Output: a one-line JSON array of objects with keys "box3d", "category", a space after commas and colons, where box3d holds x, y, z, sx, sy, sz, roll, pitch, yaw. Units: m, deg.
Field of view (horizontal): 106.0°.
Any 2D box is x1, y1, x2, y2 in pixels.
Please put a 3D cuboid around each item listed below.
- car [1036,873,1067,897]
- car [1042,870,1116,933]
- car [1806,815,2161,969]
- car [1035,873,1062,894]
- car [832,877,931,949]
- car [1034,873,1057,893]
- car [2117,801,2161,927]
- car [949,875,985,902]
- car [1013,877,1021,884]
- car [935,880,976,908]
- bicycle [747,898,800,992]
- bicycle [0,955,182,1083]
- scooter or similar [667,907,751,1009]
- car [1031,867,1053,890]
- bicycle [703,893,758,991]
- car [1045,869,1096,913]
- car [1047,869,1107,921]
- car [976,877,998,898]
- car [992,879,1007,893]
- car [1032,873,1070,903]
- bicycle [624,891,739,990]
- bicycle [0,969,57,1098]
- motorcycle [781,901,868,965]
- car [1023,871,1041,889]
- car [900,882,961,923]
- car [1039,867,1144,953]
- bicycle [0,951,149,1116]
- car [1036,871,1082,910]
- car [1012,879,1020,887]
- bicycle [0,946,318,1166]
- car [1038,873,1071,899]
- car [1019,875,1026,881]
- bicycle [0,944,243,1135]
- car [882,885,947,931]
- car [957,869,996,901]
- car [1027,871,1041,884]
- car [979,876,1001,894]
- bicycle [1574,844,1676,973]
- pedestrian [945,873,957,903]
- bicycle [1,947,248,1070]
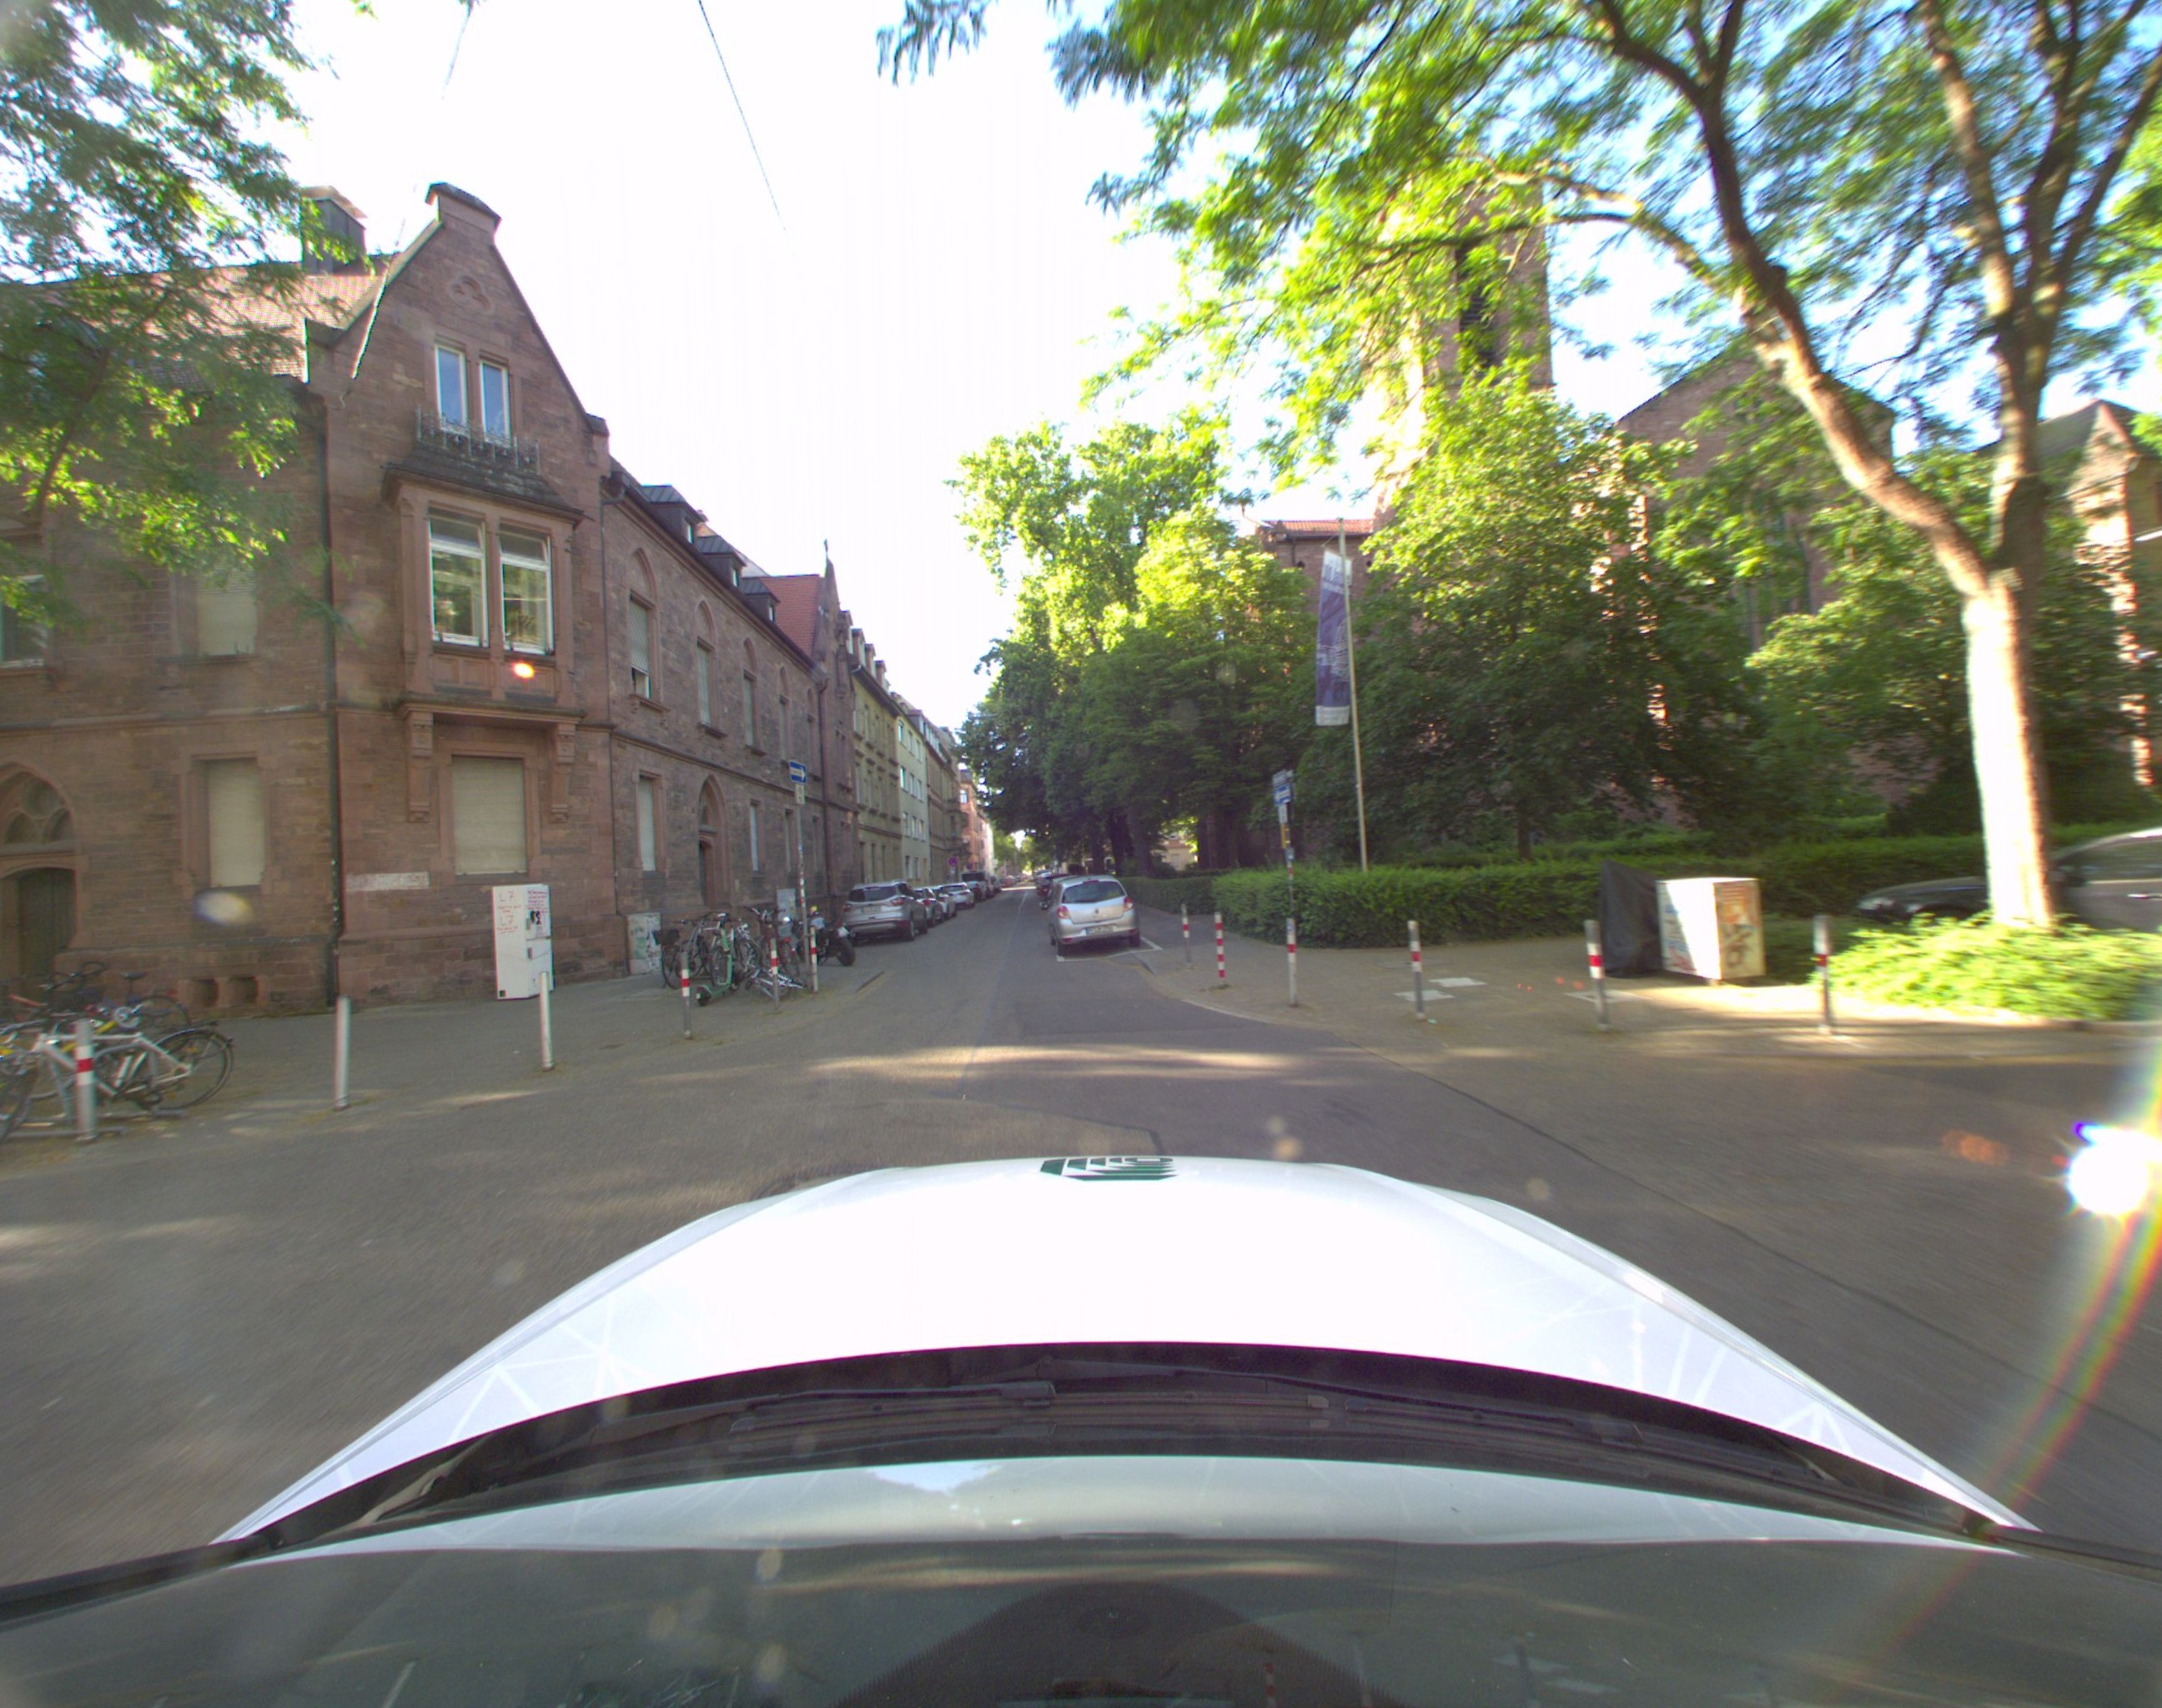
[{"box3d": [-2.196, 2.221, 58.856, 1.990, 1.574, 3.993, -4, -2, -4], "category": "car"}, {"box3d": [-0.148, 1.301, 23.137, 1.720, 1.522, 3.993, -4, -2, -4], "category": "car"}, {"box3d": [11.617, 0.375, 8.999, 1.812, 1.552, 5.045, -3, -2, -37], "category": "car"}, {"box3d": [-2.679, 2.379, 65.891, 1.990, 1.574, 3.993, -4, -2, -4], "category": "car"}, {"box3d": [-5.595, 1.603, 23.295, 1.878, 1.707, 3.995, -5, -2, -3], "category": "car"}, {"box3d": [-3.114, 2.523, 70.218, 1.790, 1.574, 3.993, -4, -2, -4], "category": "car"}, {"box3d": [15.216, 0.015, 9.334, 1.723, 1.618, 3.741, -3, -2, -22], "category": "car"}, {"box3d": [-7.562, 2.289, 54.223, 1.990, 1.574, 3.993, -4, -2, -4], "category": "car"}, {"box3d": [-16.382, 6.661, 207.960, 1.990, 1.647, 3.994, -4, -2, -4], "category": "car"}, {"box3d": [-6.699, 2.121, 43.914, 1.768, 1.353, 3.994, -3, -1, -4], "category": "car"}, {"box3d": [-5.067, 1.442, 13.533, 0.685, 1.345, 2.486, -3, -2, -19], "category": "bicycle"}, {"box3d": [-11.237, 1.802, 8.870, 1.958, 1.180, 0.684, -4, 0, -3], "category": "bicycle"}, {"box3d": [-5.287, 1.443, 11.646, 0.528, 1.277, 1.300, -4, -1, 0], "category": "scooter or similar"}, {"box3d": [-4.266, 2.692, 88.673, 2.157, 2.255, 4.517, -4, -2, -5], "category": "car"}, {"box3d": [-5.781, 1.385, 13.533, 0.574, 1.423, 2.486, -3, -2, -19], "category": "bicycle"}, {"box3d": [-0.501, 1.494, 33.955, 1.838, 1.596, 3.994, -3, -1, -4], "category": "car"}, {"box3d": [-0.212, 1.406, 28.779, 1.738, 1.574, 3.993, -4, -2, -4], "category": "car"}, {"box3d": [-8.506, 3.030, 73.921, 1.790, 1.573, 3.994, -4, 1, -4], "category": "car"}, {"box3d": [-11.080, 4.378, 111.148, 1.947, 1.709, 3.992, -4, -2, -5], "category": "car"}, {"box3d": [-1.837, 1.990, 48.573, 1.990, 1.574, 3.993, -4, -2, -4], "category": "car"}, {"box3d": [-6.769, 1.399, 13.986, 0.681, 1.423, 2.794, -4, -1, -4], "category": "bicycle"}, {"box3d": [-10.744, 1.782, 7.034, 0.681, 1.180, 2.443, -4, 0, -2], "category": "bicycle"}, {"box3d": [-5.335, 1.625, 16.867, 2.282, 1.207, 0.670, -5, -2, 44], "category": "motorcycle"}, {"box3d": [-4.881, 2.548, 80.640, 1.686, 1.728, 3.993, -1, -1, -4], "category": "car"}, {"box3d": [-6.264, 1.994, 34.248, 1.878, 1.411, 3.995, -5, -2, -3], "category": "car"}, {"box3d": [0.112, 1.120, 17.620, 1.722, 1.522, 3.991, -4, -1, -6], "category": "car"}, {"box3d": [-9.959, 1.684, 7.171, 0.681, 1.321, 2.443, -4, 0, -2], "category": "bicycle"}, {"box3d": [-1.096, 1.695, 38.745, 1.891, 1.625, 3.993, -3, -2, -4], "category": "car"}, {"box3d": [-15.886, 7.123, 199.390, 1.990, 1.647, 3.994, -4, -2, -4], "category": "car"}, {"box3d": [-7.855, 1.587, 6.934, 0.681, 1.321, 2.141, -4, 0, -2], "category": "bicycle"}, {"box3d": [-1.812, 2.125, 54.371, 1.990, 1.574, 3.993, -4, -2, -4], "category": "car"}, {"box3d": [-16.577, 6.764, 230.280, 1.990, 1.647, 3.994, -4, -2, -4], "category": "car"}, {"box3d": [-9.117, 1.625, 7.298, 0.681, 1.321, 2.443, -4, 0, -2], "category": "bicycle"}, {"box3d": [-6.004, 1.909, 29.747, 1.722, 1.393, 3.994, -4, -1, -4], "category": "car"}, {"box3d": [-7.804, 2.319, 61.169, 2.304, 2.114, 5.164, -4, -2, -2], "category": "car"}, {"box3d": [-7.263, 3.641, 126.237, 1.990, 1.728, 3.994, -4, -1, -4], "category": "car"}, {"box3d": [-9.124, 3.109, 81.724, 1.899, 1.574, 3.993, -4, -2, -4], "category": "car"}, {"box3d": [6.768, 0.619, 10.078, 0.767, 1.371, 2.138, -5, -1, 39], "category": "bicycle"}, {"box3d": [-9.057, 2.384, 56.624, 0.685, 2.014, 0.689, -3, -2, -11], "category": "pedestrian"}, {"box3d": [-11.232, 1.792, 9.614, 1.958, 1.180, 0.684, -4, 0, -3], "category": "bicycle"}]
